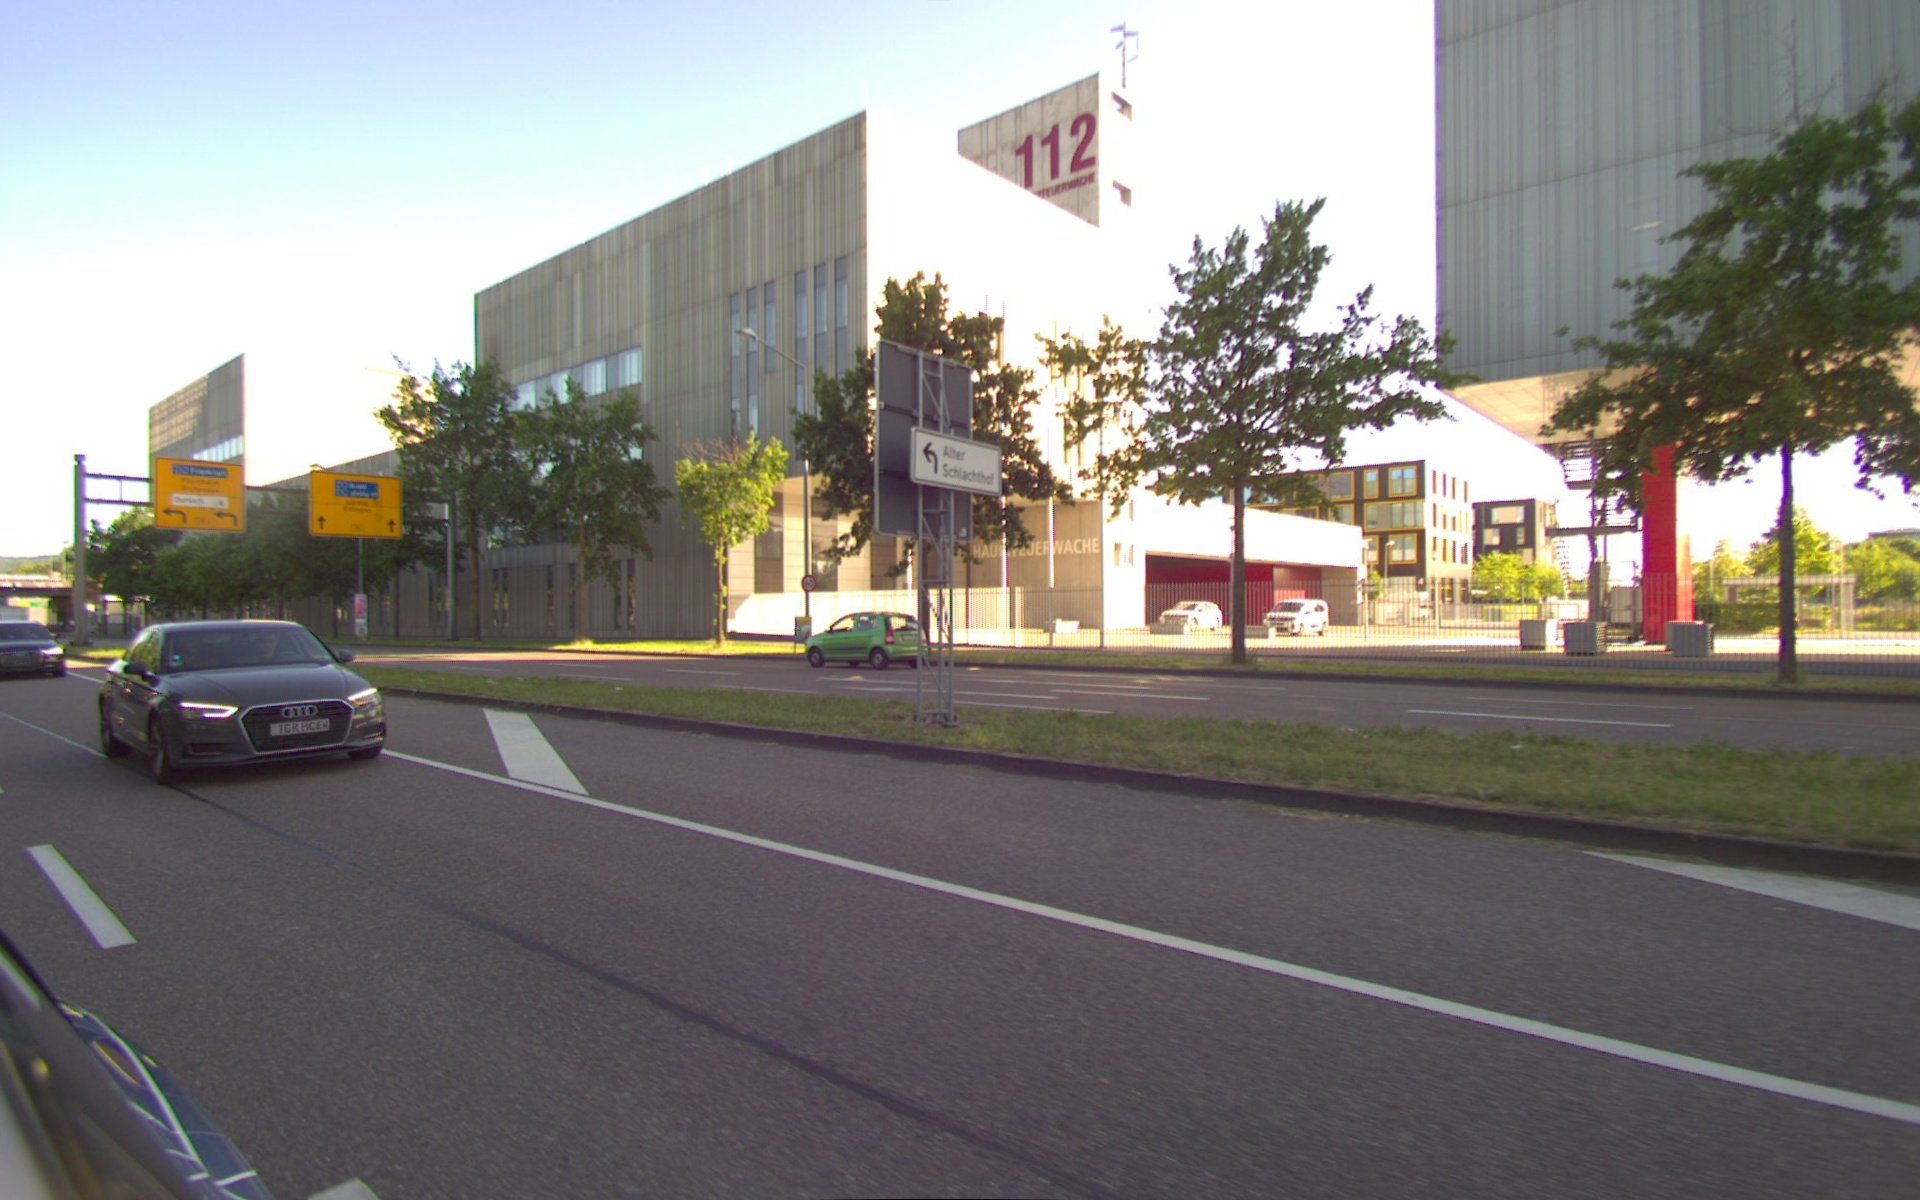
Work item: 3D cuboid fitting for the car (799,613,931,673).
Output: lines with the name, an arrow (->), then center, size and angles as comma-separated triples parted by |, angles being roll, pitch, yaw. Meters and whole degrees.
car -> -2.528, 1.101, 26.591 | 3.456, 1.447, 1.431 | -1, -1, 39

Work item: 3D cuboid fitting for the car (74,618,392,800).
car -> -7.472, 0.920, 10.219 | 4.363, 1.414, 1.680 | -1, 0, 42

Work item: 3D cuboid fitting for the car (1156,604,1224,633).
car -> 12.579, 0.987, 55.237 | 1.762, 1.464, 4.211 | -2, -1, 42

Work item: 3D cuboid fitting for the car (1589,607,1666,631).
car -> 36.605, 1.039, 55.504 | 3.381, 1.268, 1.349 | -1, -1, 40

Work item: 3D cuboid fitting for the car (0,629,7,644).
car -> -95.751, 3.619, 100.040 | 3.997, 1.435, 1.816 | -2, -3, 41

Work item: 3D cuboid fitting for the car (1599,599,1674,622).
car -> 38.200, 0.600, 57.177 | 3.381, 1.268, 1.349 | -1, -1, 40

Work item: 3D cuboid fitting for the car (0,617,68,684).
car -> -23.900, 1.233, 25.437 | 3.944, 1.549, 1.680 | -1, 0, 40

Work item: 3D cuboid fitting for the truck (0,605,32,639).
truck -> -88.039, 2.056, 93.400 | 7.111, 2.983, 2.658 | -1, -3, 41

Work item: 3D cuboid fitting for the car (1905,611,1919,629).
car -> 64.268, 1.307, 66.186 | 3.438, 1.202, 1.353 | -1, -1, 39

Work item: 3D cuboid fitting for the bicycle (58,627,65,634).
bicycle -> -131.617, 4.459, 148.270 | 1.753, 0.897, 0.507 | -2, -1, 40

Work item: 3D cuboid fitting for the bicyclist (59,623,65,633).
bicyclist -> -131.580, 4.051, 148.241 | 0.752, 1.453, 0.502 | -2, -1, 40

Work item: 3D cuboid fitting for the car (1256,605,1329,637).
car -> 16.922, 1.054, 51.350 | 1.935, 1.514, 4.341 | -2, -1, 42
